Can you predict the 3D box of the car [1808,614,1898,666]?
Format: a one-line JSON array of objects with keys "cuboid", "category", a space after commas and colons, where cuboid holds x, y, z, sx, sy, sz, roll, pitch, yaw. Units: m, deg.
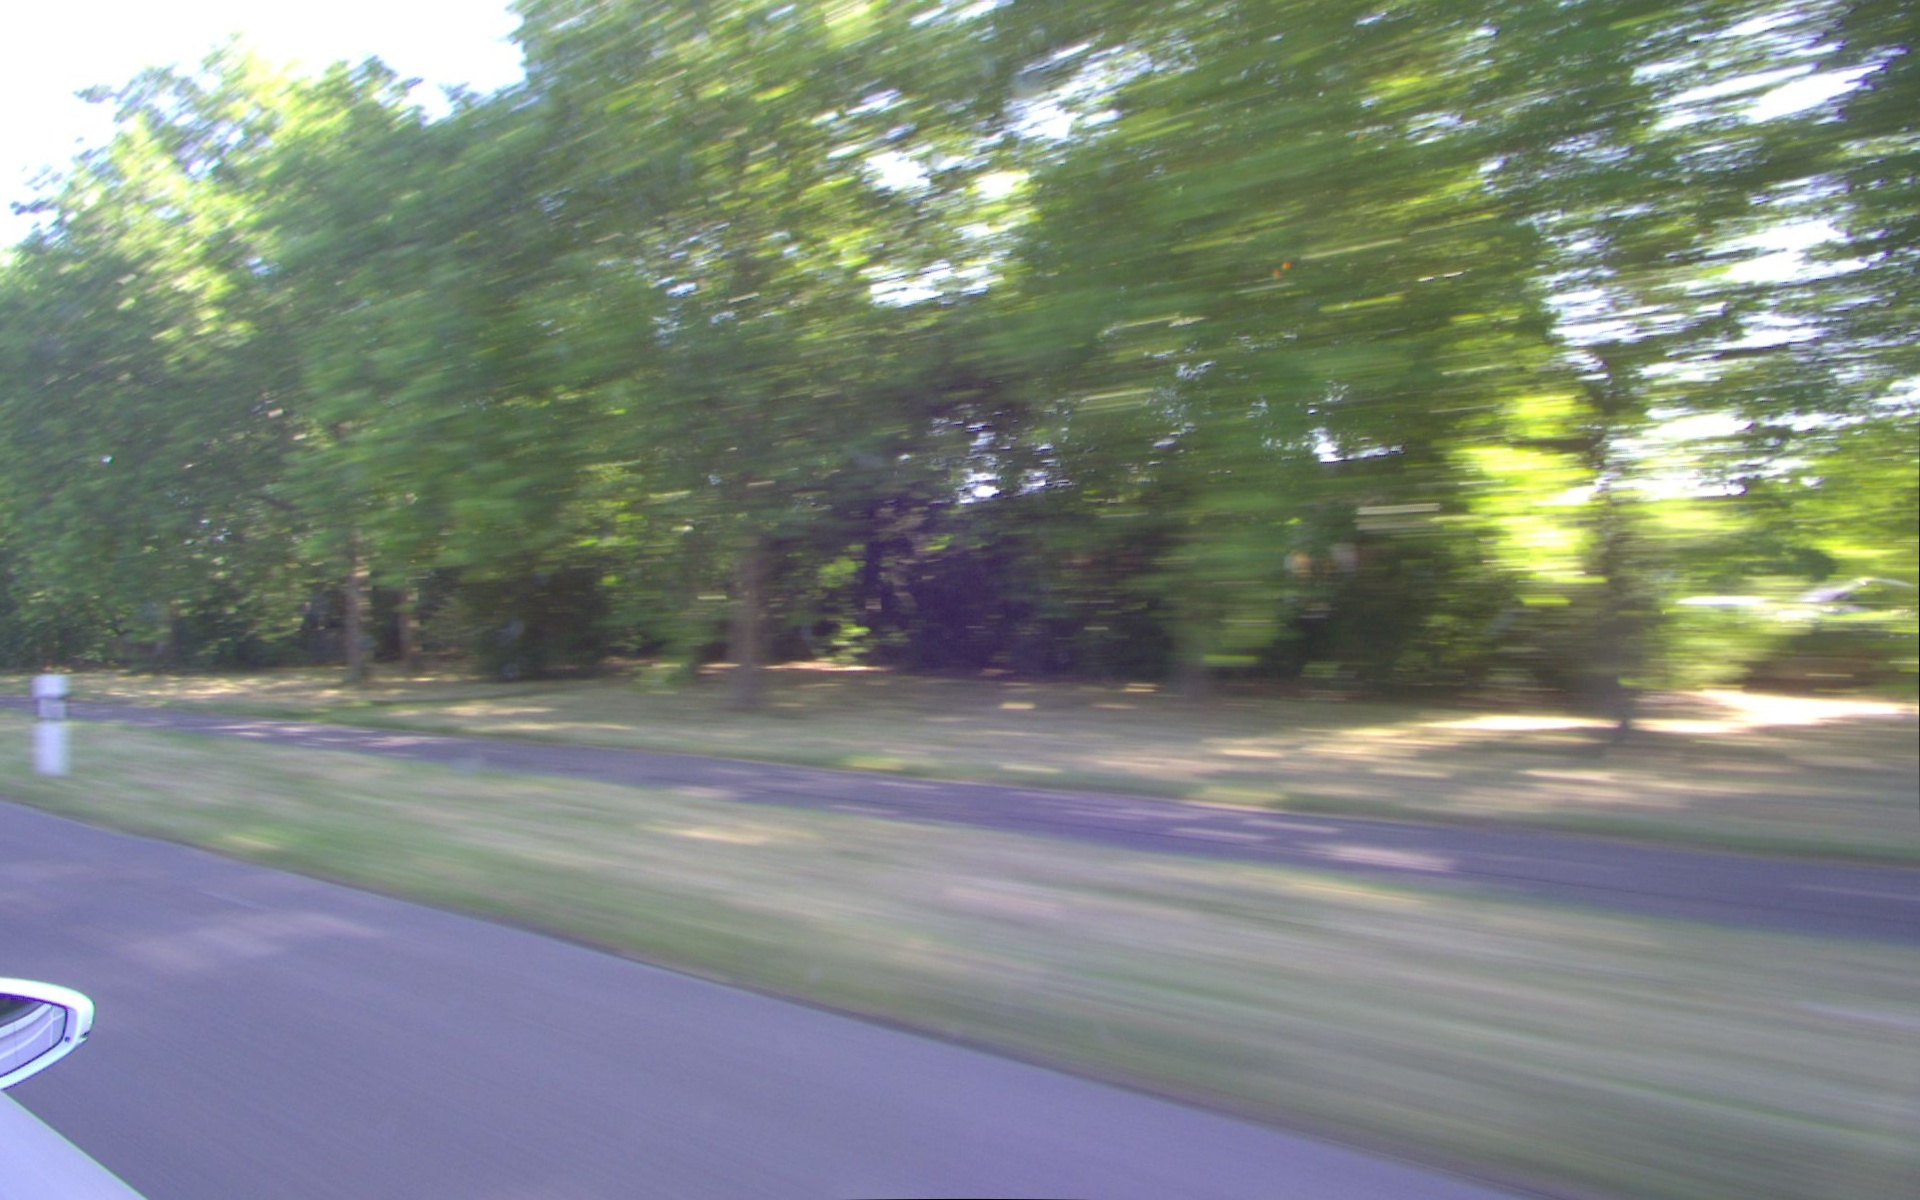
[{"cuboid": [32.344, 1.405, 36.396, 1.962, 1.773, 4.479, -1, -1, 36], "category": "car"}]
